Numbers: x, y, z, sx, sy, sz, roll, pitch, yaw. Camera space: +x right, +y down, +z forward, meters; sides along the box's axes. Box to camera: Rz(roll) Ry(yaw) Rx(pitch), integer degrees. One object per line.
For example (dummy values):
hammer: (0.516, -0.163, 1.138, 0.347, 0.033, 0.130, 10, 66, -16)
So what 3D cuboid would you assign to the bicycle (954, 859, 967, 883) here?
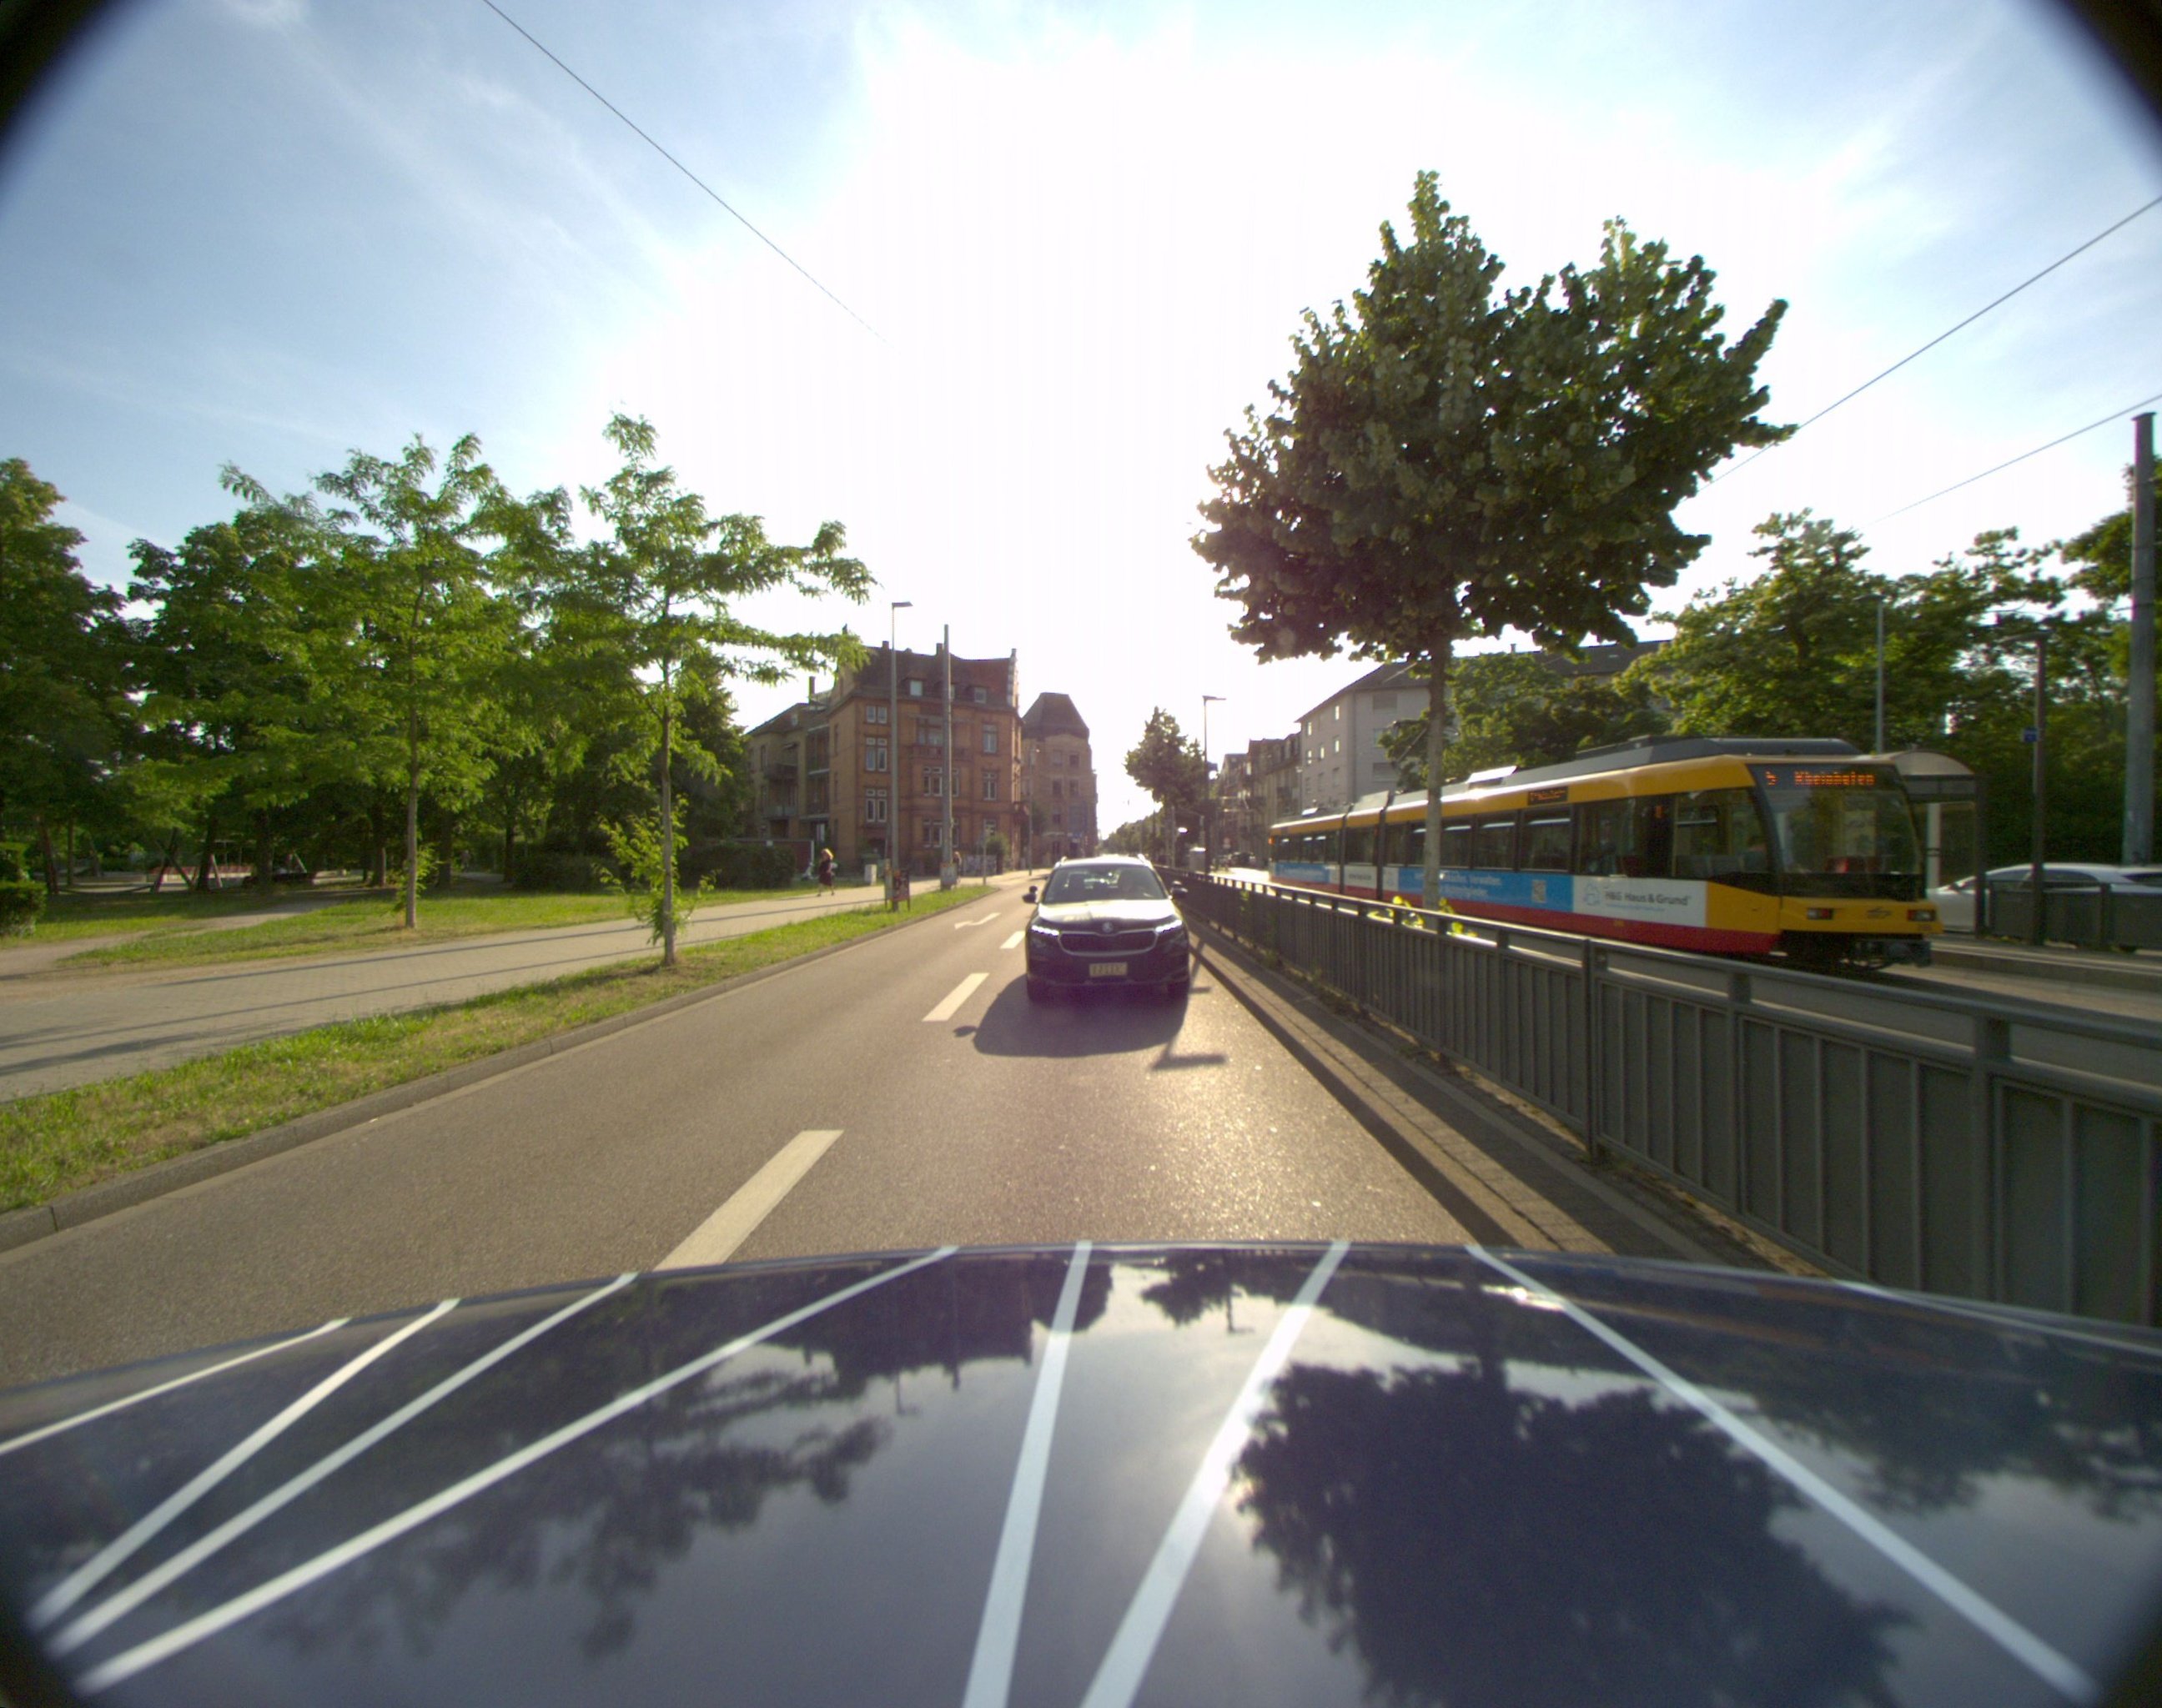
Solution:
bicycle: (-6.310, 0.884, 39.764, 0.485, 1.183, 1.337, -1, 0, -14)

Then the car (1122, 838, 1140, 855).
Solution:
car: (5.931, -0.926, 91.167, 1.998, 2.002, 4.000, 0, 1, 1)

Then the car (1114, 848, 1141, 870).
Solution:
car: (3.834, 0.411, 63.360, 1.998, 1.772, 4.000, 0, 0, 1)

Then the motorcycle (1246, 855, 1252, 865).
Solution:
motorcycle: (19.696, 0.721, 89.085, 0.636, 1.074, 1.735, -1, 0, 10)

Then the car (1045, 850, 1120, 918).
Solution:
car: (0.081, 0.834, 22.763, 1.998, 1.827, 4.000, -1, 0, 1)

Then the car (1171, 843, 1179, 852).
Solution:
car: (23.581, -1.599, 190.586, 1.998, 2.002, 4.001, -1, 0, 5)

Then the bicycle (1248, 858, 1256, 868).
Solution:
bicycle: (17.784, 0.972, 78.982, 0.543, 1.012, 2.251, -1, 0, 5)

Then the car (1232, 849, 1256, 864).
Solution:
car: (19.883, 0.312, 92.980, 2.170, 1.740, 4.719, -1, 0, 4)

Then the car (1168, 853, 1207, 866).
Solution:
car: (11.831, 0.600, 84.635, 3.941, 1.352, 1.676, 0, 1, 39)

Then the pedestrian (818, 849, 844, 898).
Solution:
pedestrian: (-8.999, 0.686, 27.337, 0.616, 1.682, 0.549, 5, 1, 5)

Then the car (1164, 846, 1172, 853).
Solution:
car: (24.523, -1.204, 214.402, 1.998, 2.002, 4.000, -1, 0, 1)

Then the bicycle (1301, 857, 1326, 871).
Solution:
bicycle: (19.502, 0.831, 63.702, 1.915, 1.104, 0.735, 0, 1, 2)

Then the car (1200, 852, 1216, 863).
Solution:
car: (21.038, 0.574, 126.088, 2.170, 1.890, 4.611, -1, 0, 4)

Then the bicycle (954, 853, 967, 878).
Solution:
bicycle: (-6.302, 0.584, 39.712, 0.575, 1.290, 0.687, -1, 0, -14)

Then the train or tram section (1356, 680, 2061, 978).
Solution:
train or tram section: (10.040, -0.290, 16.217, 3.170, 3.459, 14.471, -1, 0, 0)

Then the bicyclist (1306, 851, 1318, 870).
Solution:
bicyclist: (19.350, 0.534, 63.719, 0.773, 1.633, 0.794, 0, 1, 2)

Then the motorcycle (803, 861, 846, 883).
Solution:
motorcycle: (-13.527, 0.942, 40.145, 2.002, 1.153, 0.708, -1, 0, -4)

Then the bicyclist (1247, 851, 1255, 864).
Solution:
bicyclist: (17.737, 0.377, 79.237, 0.652, 1.405, 0.717, -1, 0, 4)

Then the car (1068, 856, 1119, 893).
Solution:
car: (0.662, 0.913, 35.712, 1.997, 1.565, 4.002, -1, 0, 6)

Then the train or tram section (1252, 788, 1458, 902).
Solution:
train or tram section: (10.101, -0.287, 30.745, 3.170, 3.459, 14.532, -1, 0, 0)

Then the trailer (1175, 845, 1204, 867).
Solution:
trailer: (12.500, 0.232, 87.559, 2.858, 2.378, 1.726, -1, 0, 33)

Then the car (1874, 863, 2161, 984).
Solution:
car: (16.625, 1.027, 12.973, 1.998, 1.674, 4.000, -1, 0, 0)

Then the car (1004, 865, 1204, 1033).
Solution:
car: (0.325, 0.896, 8.984, 1.839, 1.472, 4.001, 0, 0, 3)

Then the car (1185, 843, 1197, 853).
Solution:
car: (23.097, -1.306, 159.574, 1.998, 2.002, 4.000, -1, 0, 2)

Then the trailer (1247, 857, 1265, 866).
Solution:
trailer: (19.915, 0.859, 86.382, 1.444, 0.891, 2.880, -4, 0, 3)

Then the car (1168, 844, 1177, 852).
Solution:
car: (24.256, -1.651, 201.483, 1.998, 2.002, 4.001, -1, 0, 5)

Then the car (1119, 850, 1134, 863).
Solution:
car: (6.896, 0.354, 115.425, 1.998, 2.002, 4.000, 0, 1, 1)

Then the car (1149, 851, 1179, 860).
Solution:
car: (13.127, 0.235, 119.901, 4.259, 1.414, 2.176, -1, 0, 43)
